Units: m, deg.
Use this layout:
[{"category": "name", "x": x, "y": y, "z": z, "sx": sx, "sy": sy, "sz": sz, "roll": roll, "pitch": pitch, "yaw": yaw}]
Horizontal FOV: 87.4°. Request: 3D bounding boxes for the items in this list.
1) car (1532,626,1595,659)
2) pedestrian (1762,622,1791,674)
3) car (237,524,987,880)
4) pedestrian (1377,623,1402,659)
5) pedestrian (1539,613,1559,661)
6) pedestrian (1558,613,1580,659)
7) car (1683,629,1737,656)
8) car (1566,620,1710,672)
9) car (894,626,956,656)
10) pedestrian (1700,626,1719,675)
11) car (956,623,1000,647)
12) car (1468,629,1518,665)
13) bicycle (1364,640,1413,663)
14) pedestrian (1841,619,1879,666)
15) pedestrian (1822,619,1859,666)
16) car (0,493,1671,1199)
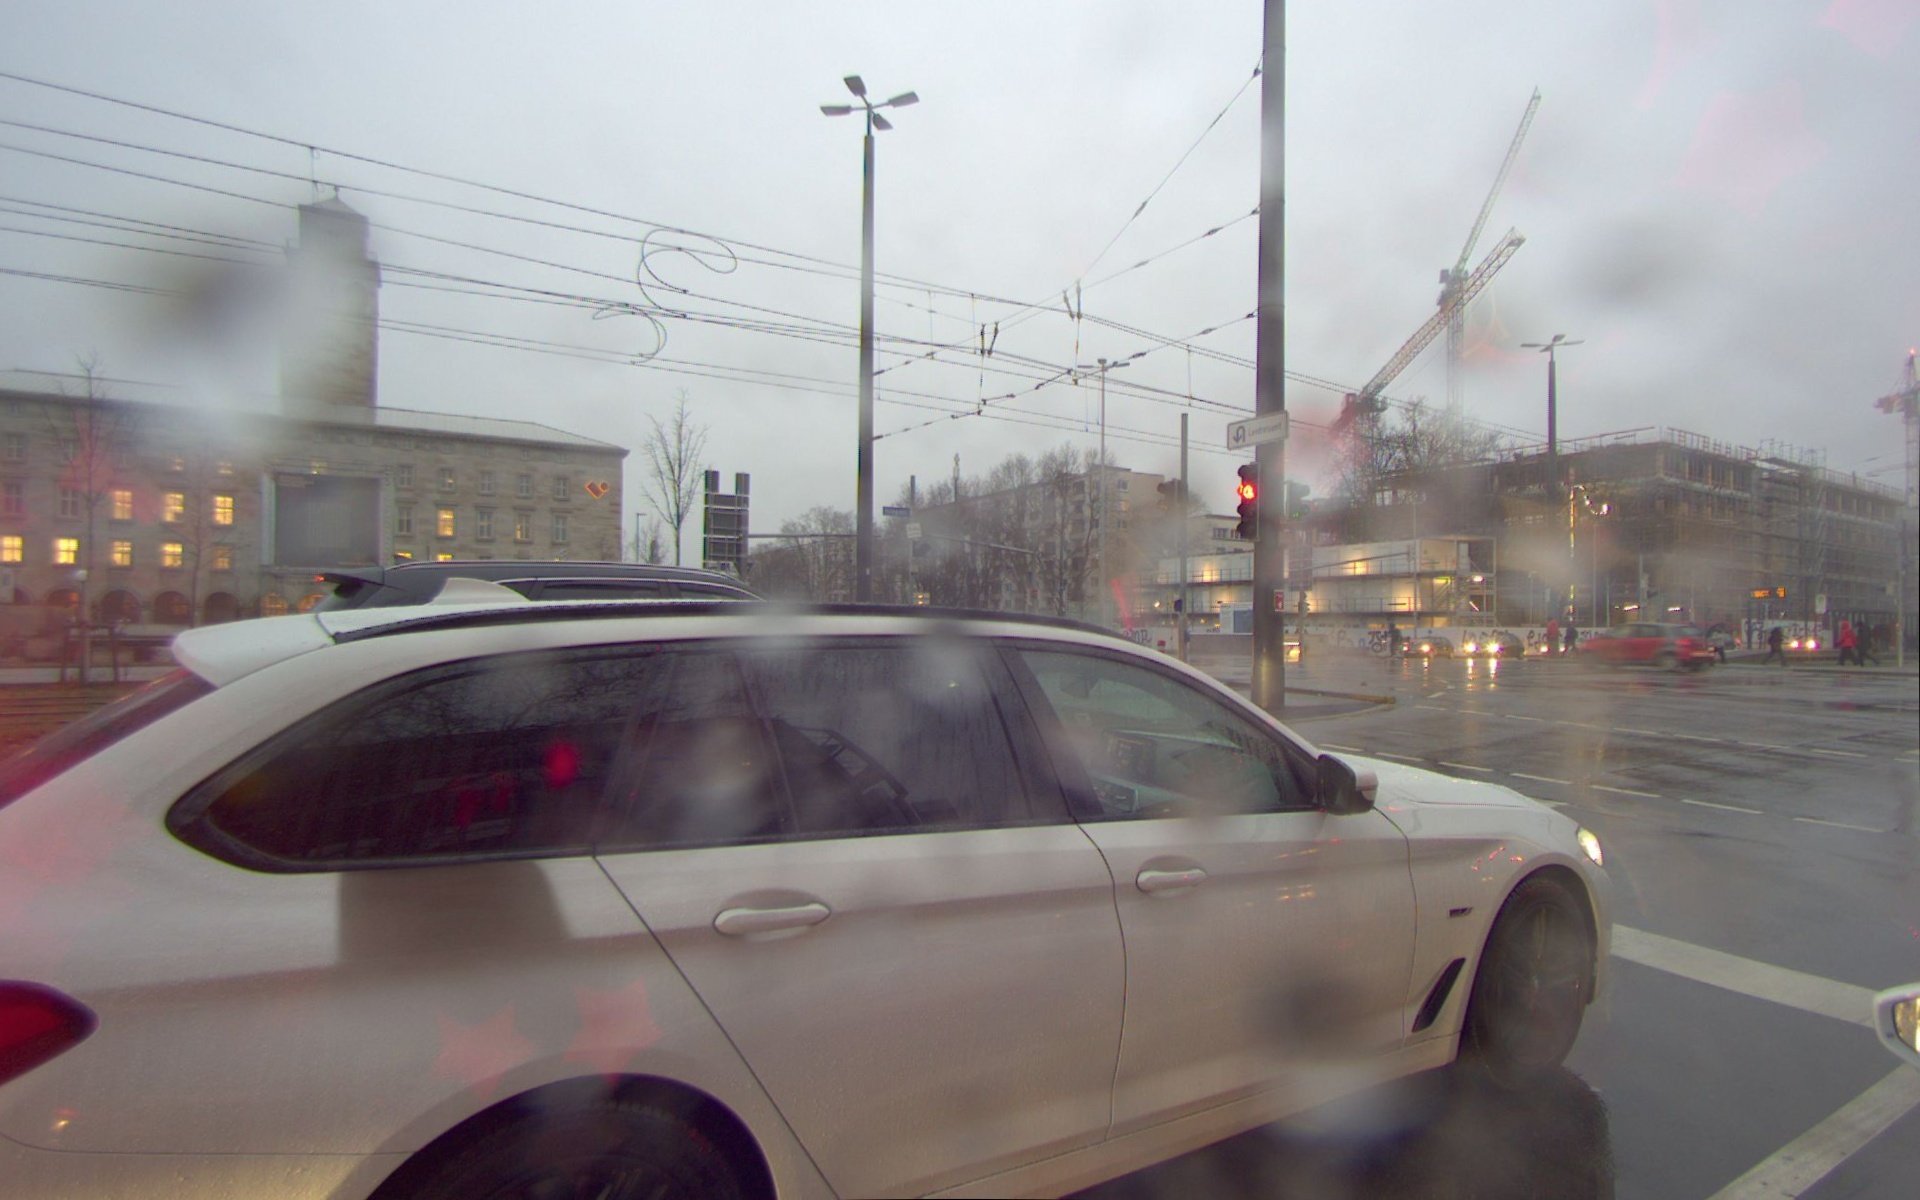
[{"category": "car", "x": 38.910, "y": 2.756, "z": 64.789, "sx": 3.957, "sy": 2.040, "sz": 1.982, "roll": 2, "pitch": -2, "yaw": -33}, {"category": "pedestrian", "x": 32.824, "y": 1.915, "z": 40.396, "sx": 0.741, "sy": 2.040, "sz": 0.785, "roll": 1, "pitch": -1, "yaw": -40}, {"category": "car", "x": -2.150, "y": 0.578, "z": 6.990, "sx": 4.564, "sy": 1.766, "sz": 1.692, "roll": 2, "pitch": -2, "yaw": -34}, {"category": "pedestrian", "x": 19.720, "y": 1.863, "z": 46.096, "sx": 0.531, "sy": 1.589, "sz": 0.810, "roll": 9, "pitch": -5, "yaw": -32}, {"category": "pedestrian", "x": 26.250, "y": 1.626, "z": 44.762, "sx": 0.674, "sy": 2.115, "sz": 0.613, "roll": 0, "pitch": -1, "yaw": 20}, {"category": "pedestrian", "x": 27.143, "y": 1.585, "z": 44.766, "sx": 0.762, "sy": 2.040, "sz": 0.613, "roll": 0, "pitch": -1, "yaw": 22}, {"category": "car", "x": 57.121, "y": 3.224, "z": 76.495, "sx": 3.953, "sy": 2.040, "sz": 1.984, "roll": 2, "pitch": -2, "yaw": -30}, {"category": "car", "x": 21.994, "y": 1.480, "z": 32.707, "sx": 1.656, "sy": 1.603, "sz": 3.554, "roll": 2, "pitch": -2, "yaw": -29}, {"category": "car", "x": -2.108, "y": 2.419, "z": 59.337, "sx": 1.978, "sy": 1.706, "sz": 3.965, "roll": 1, "pitch": -2, "yaw": -33}, {"category": "pedestrian", "x": 31.608, "y": 2.118, "z": 42.371, "sx": 0.635, "sy": 2.040, "sz": 0.503, "roll": 0, "pitch": 0, "yaw": -40}, {"category": "car", "x": 1.291, "y": 2.596, "z": 75.267, "sx": 1.683, "sy": 1.785, "sz": 4.293, "roll": 1, "pitch": -2, "yaw": -23}, {"category": "car", "x": 31.352, "y": 2.742, "z": 59.069, "sx": 1.736, "sy": 2.040, "sz": 3.980, "roll": -1, "pitch": -2, "yaw": 41}, {"category": "bicycle", "x": 19.656, "y": 2.356, "z": 46.070, "sx": 0.536, "sy": 1.003, "sz": 2.116, "roll": 8, "pitch": -6, "yaw": -32}, {"category": "pedestrian", "x": 33.535, "y": 1.573, "z": 37.426, "sx": 0.664, "sy": 1.710, "sz": 0.846, "roll": 1, "pitch": -1, "yaw": 1}, {"category": "pedestrian", "x": 32.825, "y": 1.581, "z": 37.445, "sx": 0.607, "sy": 1.701, "sz": 0.833, "roll": 1, "pitch": -1, "yaw": -3}, {"category": "car", "x": -0.094, "y": 0.702, "z": 3.005, "sx": 4.868, "sy": 1.540, "sz": 1.900, "roll": 2, "pitch": -2, "yaw": -32}]
